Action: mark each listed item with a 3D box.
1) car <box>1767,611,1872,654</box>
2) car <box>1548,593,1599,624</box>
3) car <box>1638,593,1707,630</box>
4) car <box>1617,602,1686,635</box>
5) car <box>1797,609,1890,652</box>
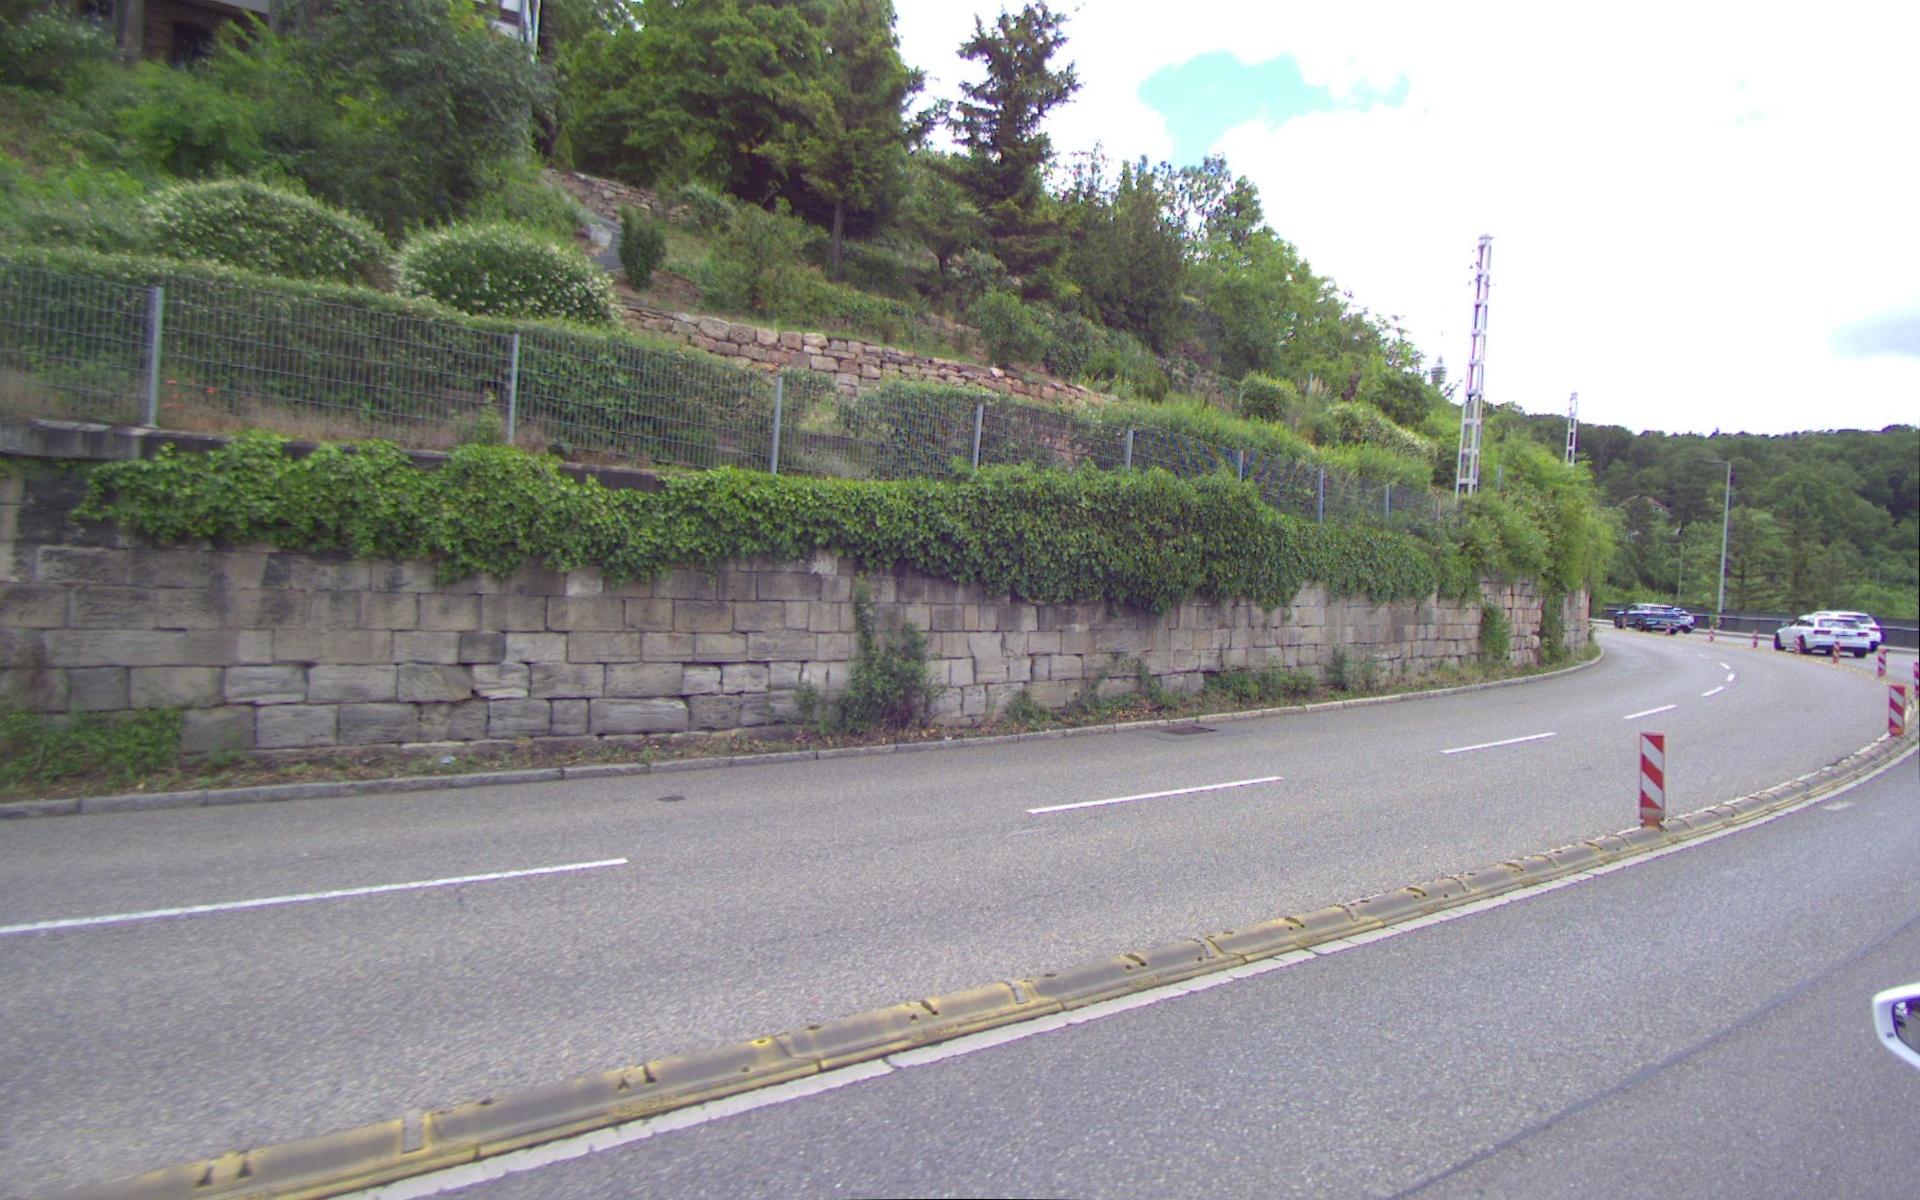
[{"bbox_3d":[32.543,1.204,38.185,1.963,1.523,4.662,0,-1,27],"label":"car"},{"bbox_3d":[40.438,0.611,66.298,1.838,1.784,4.002,4,-2,16],"label":"car"},{"bbox_3d":[41.467,0.680,58.562,1.960,2.040,4.002,2,0,16],"label":"car"},{"bbox_3d":[37.574,1.034,54.699,1.960,1.670,4.002,0,-2,17],"label":"car"},{"bbox_3d":[37.610,1.311,42.872,1.963,1.740,4.109,0,-2,27],"label":"car"}]
